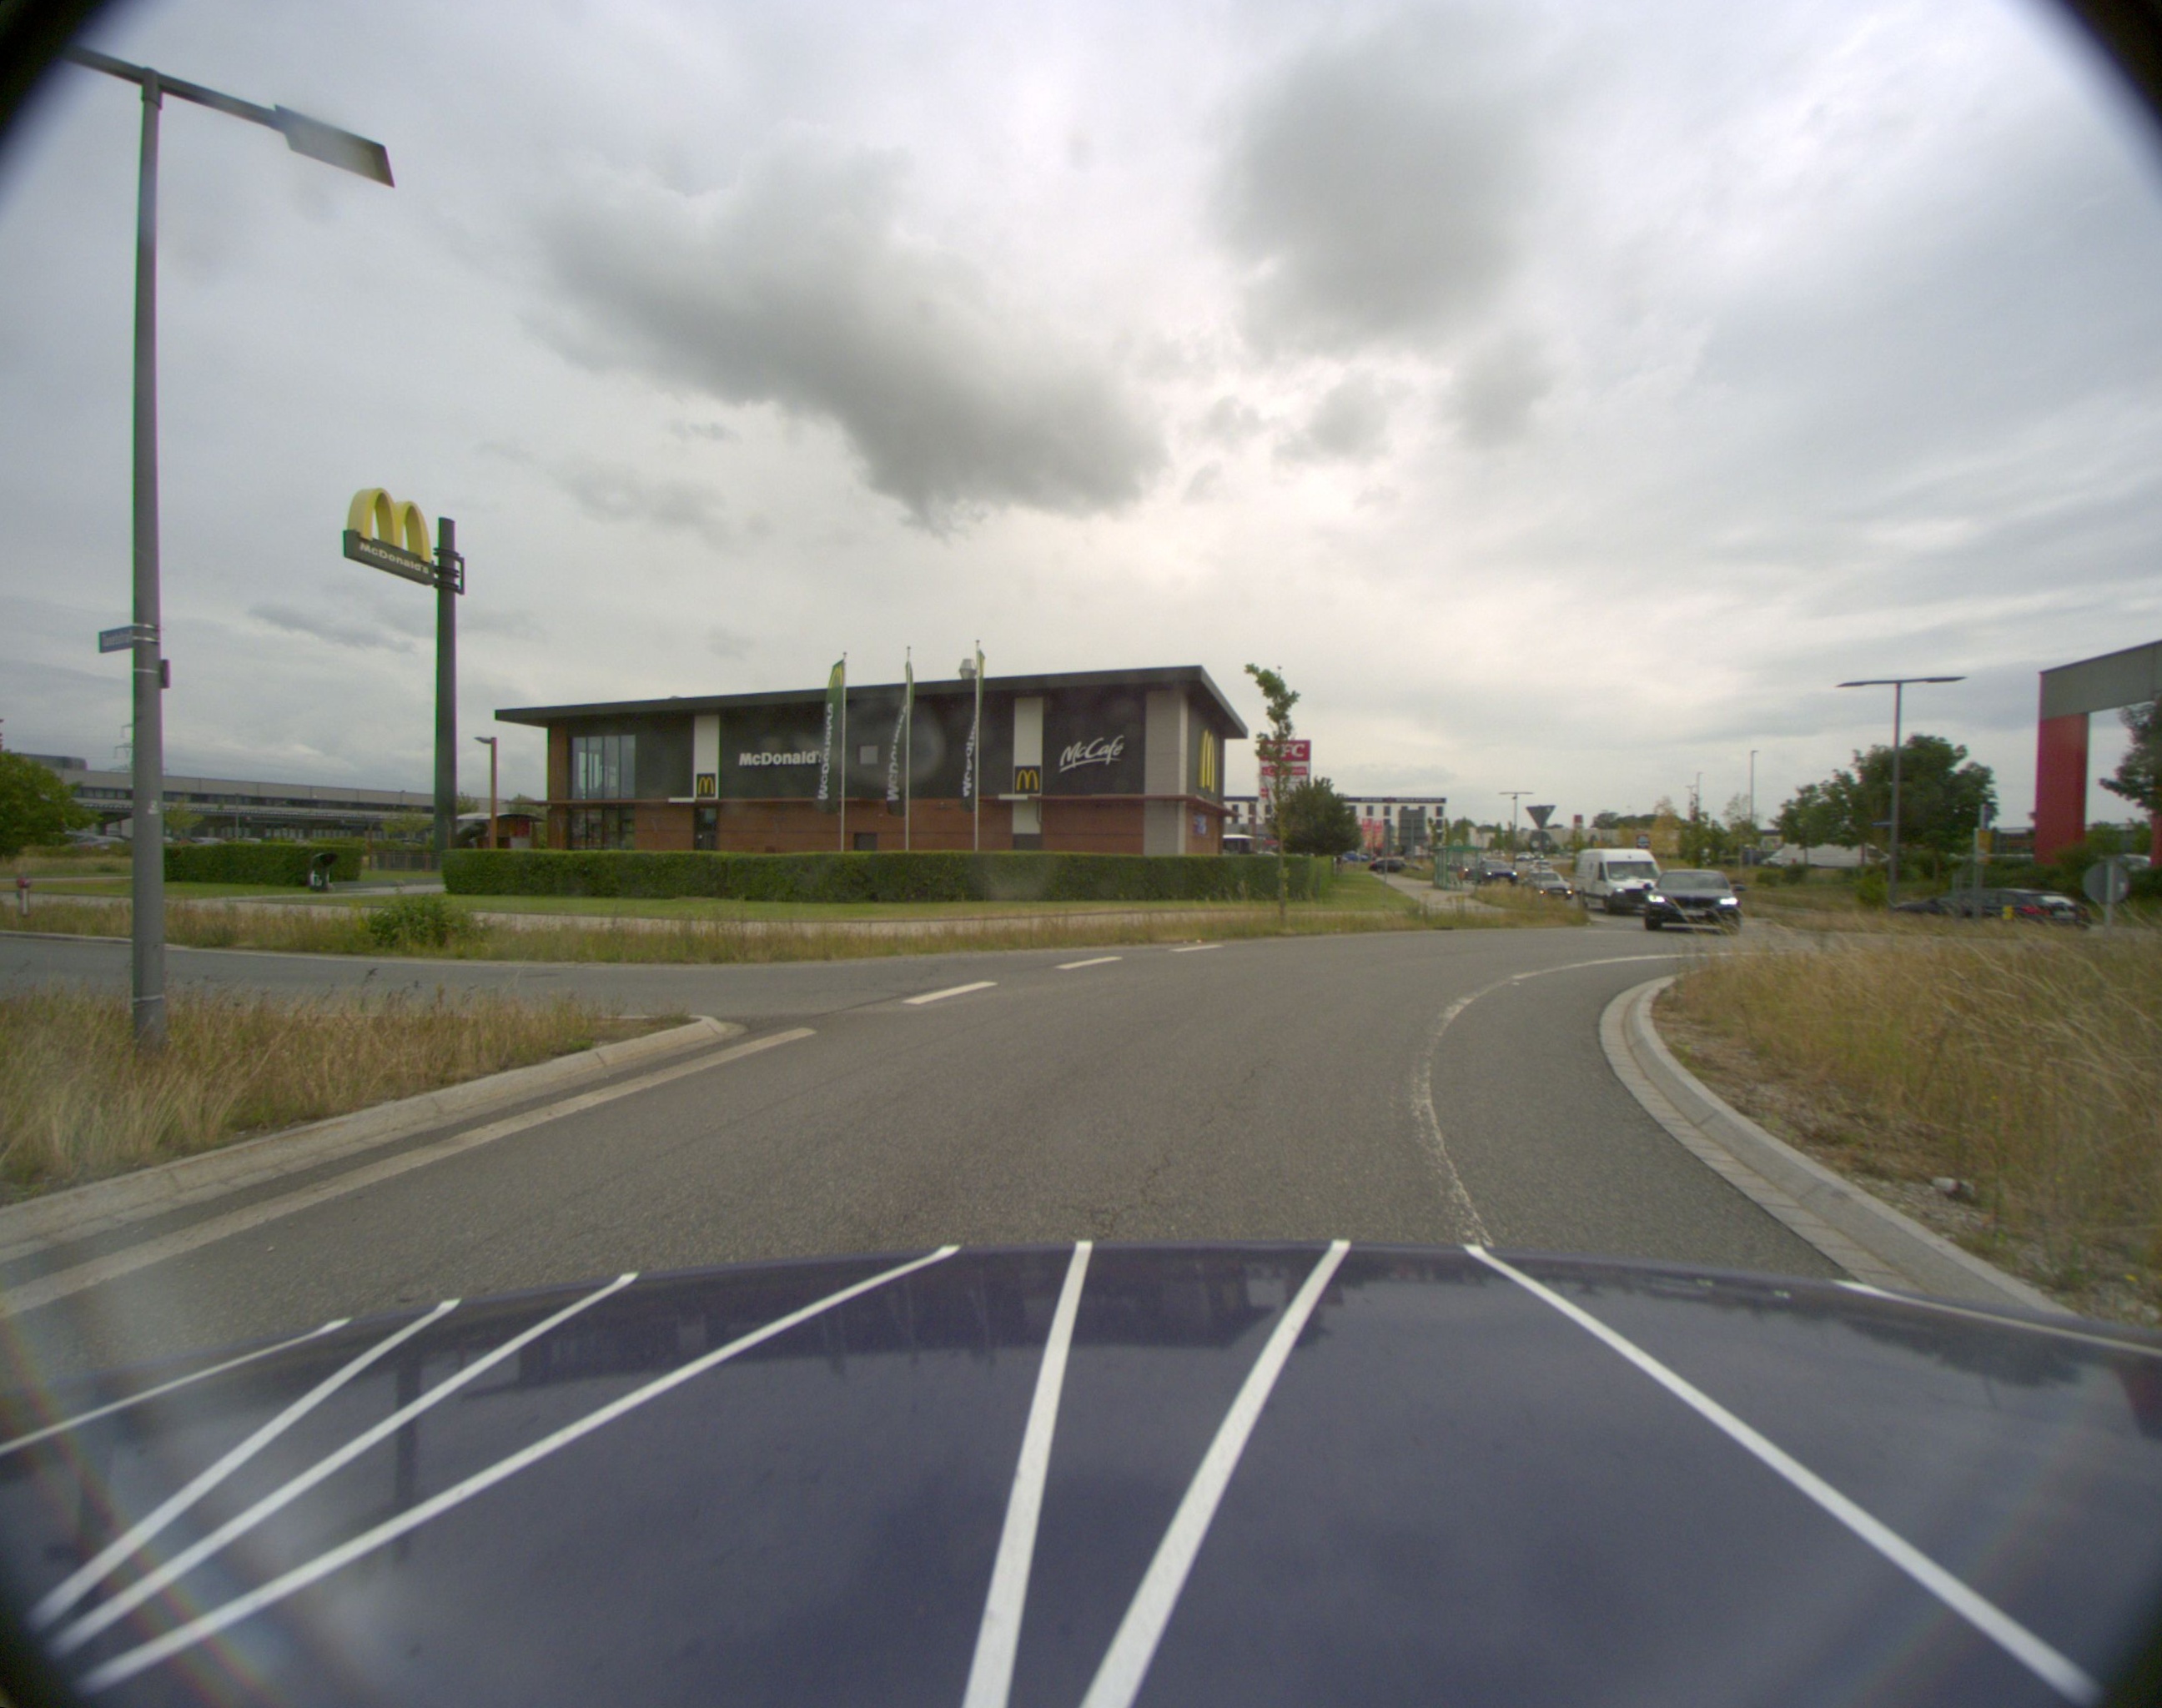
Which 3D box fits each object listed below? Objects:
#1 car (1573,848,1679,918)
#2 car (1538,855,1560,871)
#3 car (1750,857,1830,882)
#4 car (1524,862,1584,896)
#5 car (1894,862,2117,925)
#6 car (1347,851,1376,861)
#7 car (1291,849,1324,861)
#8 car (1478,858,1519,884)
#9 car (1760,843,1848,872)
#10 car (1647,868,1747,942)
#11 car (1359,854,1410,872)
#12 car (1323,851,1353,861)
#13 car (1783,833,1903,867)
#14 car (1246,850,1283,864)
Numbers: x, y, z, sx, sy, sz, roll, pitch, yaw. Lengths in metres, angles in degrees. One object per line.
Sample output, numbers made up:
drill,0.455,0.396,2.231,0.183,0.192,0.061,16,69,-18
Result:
car,22.188,1.056,31.266,2.022,2.513,6.114,1,1,21
car,43.935,0.845,71.377,1.723,1.400,4.653,2,0,31
car,66.609,1.414,71.486,5.044,2.211,2.068,1,1,25
car,25.367,1.300,40.900,1.864,1.599,4.005,1,1,19
car,28.324,1.153,23.552,1.997,1.599,4.298,-1,1,8
car,44.724,0.375,121.121,3.988,1.477,1.851,0,2,35
car,30.243,0.094,101.355,3.989,1.513,1.850,1,1,26
car,29.081,1.137,53.034,1.864,1.599,4.005,1,1,19
car,61.660,0.313,64.946,5.046,2.359,2.067,-1,2,18
car,16.327,1.256,20.218,1.863,1.599,4.008,2,1,38
car,27.083,0.825,67.898,3.992,1.477,1.849,-1,1,14
car,38.614,0.307,114.258,3.988,1.477,1.851,1,1,30
car,60.139,-0.324,60.138,6.405,2.609,2.067,-1,2,22
car,20.534,0.368,84.929,3.992,1.477,1.849,-1,1,14
